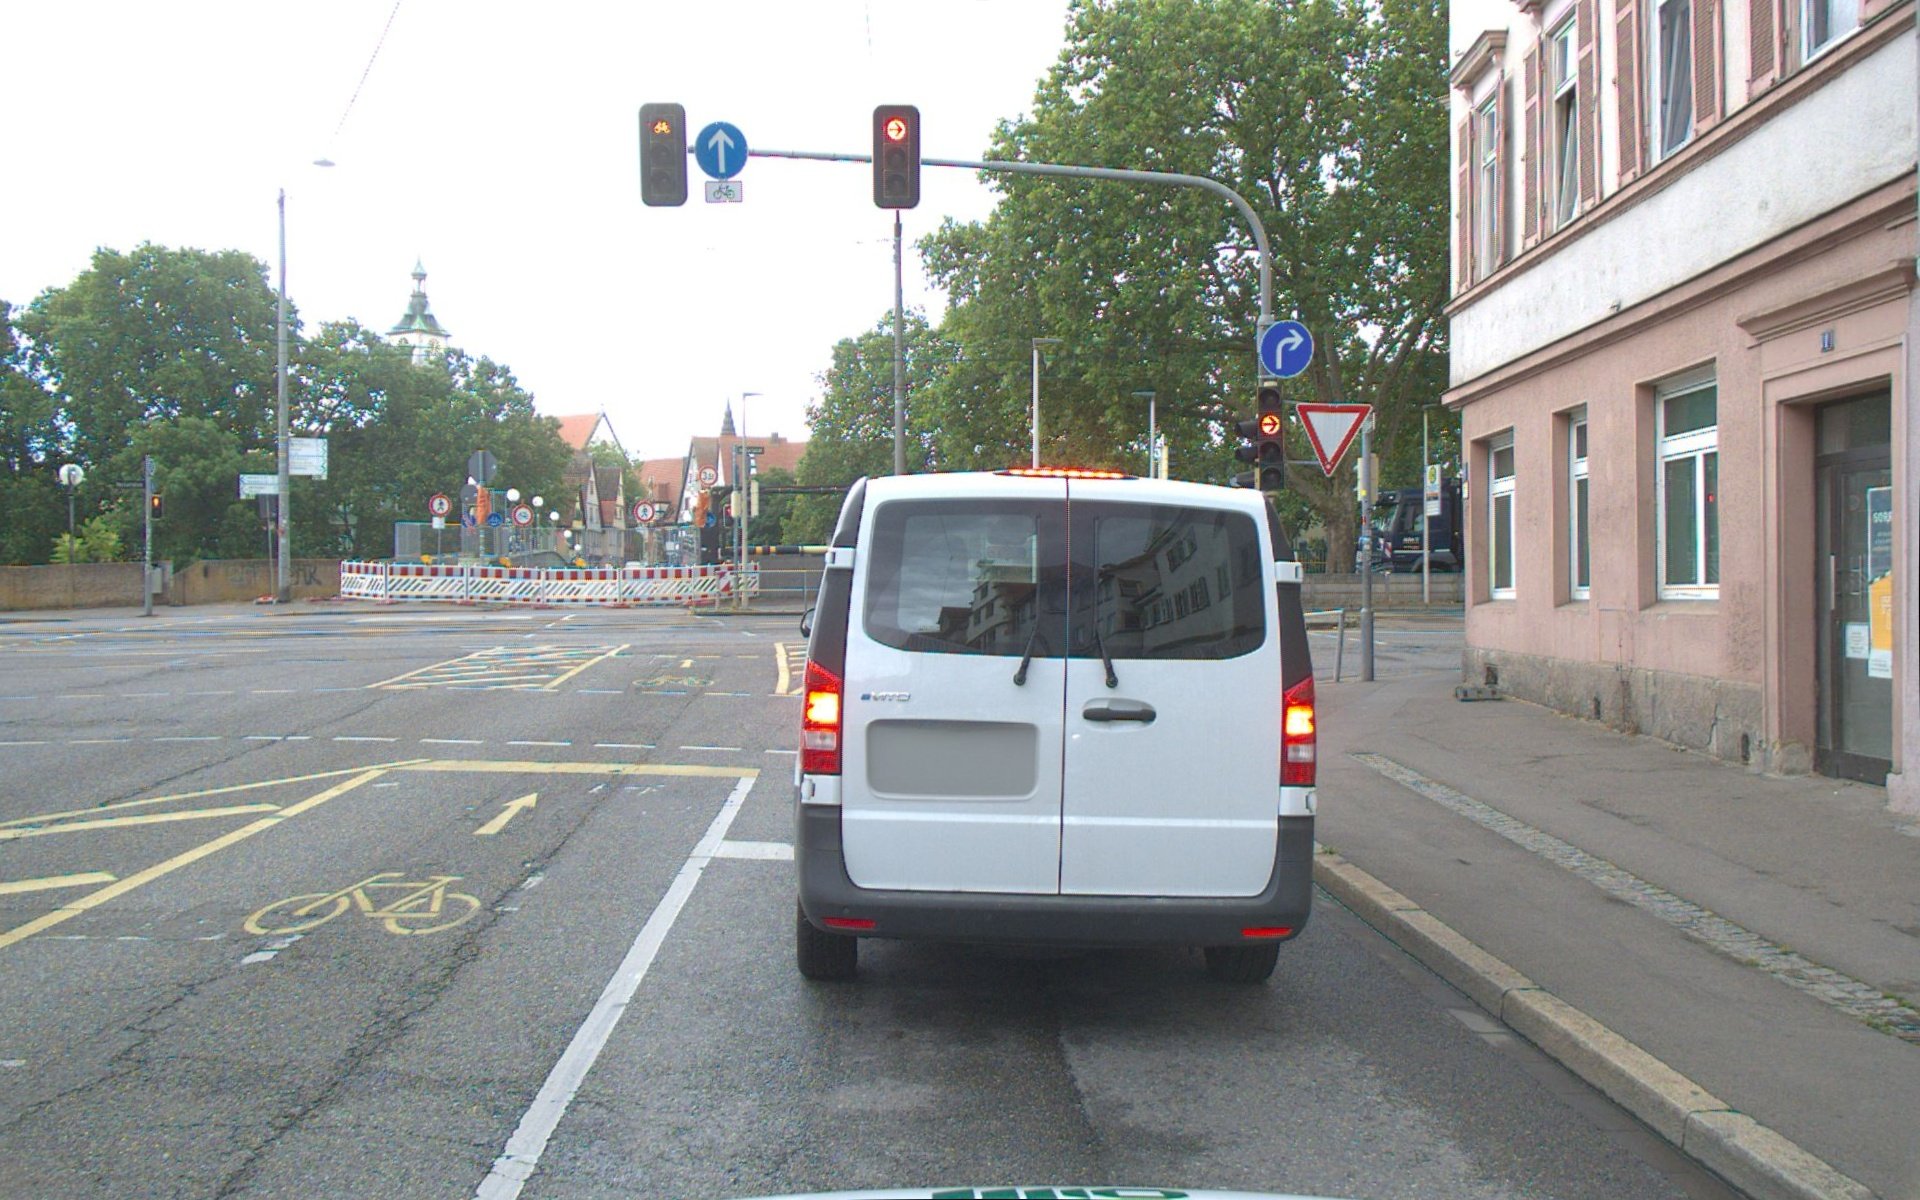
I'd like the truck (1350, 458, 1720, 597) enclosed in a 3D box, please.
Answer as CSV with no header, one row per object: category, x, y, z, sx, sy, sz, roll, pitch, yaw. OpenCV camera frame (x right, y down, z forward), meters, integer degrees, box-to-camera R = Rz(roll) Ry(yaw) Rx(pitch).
truck,16.183,-1.972,46.671,9.996,3.760,2.266,0,0,-9

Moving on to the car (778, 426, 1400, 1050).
car,0.297,0.373,7.359,1.954,1.956,4.247,1,2,-3
